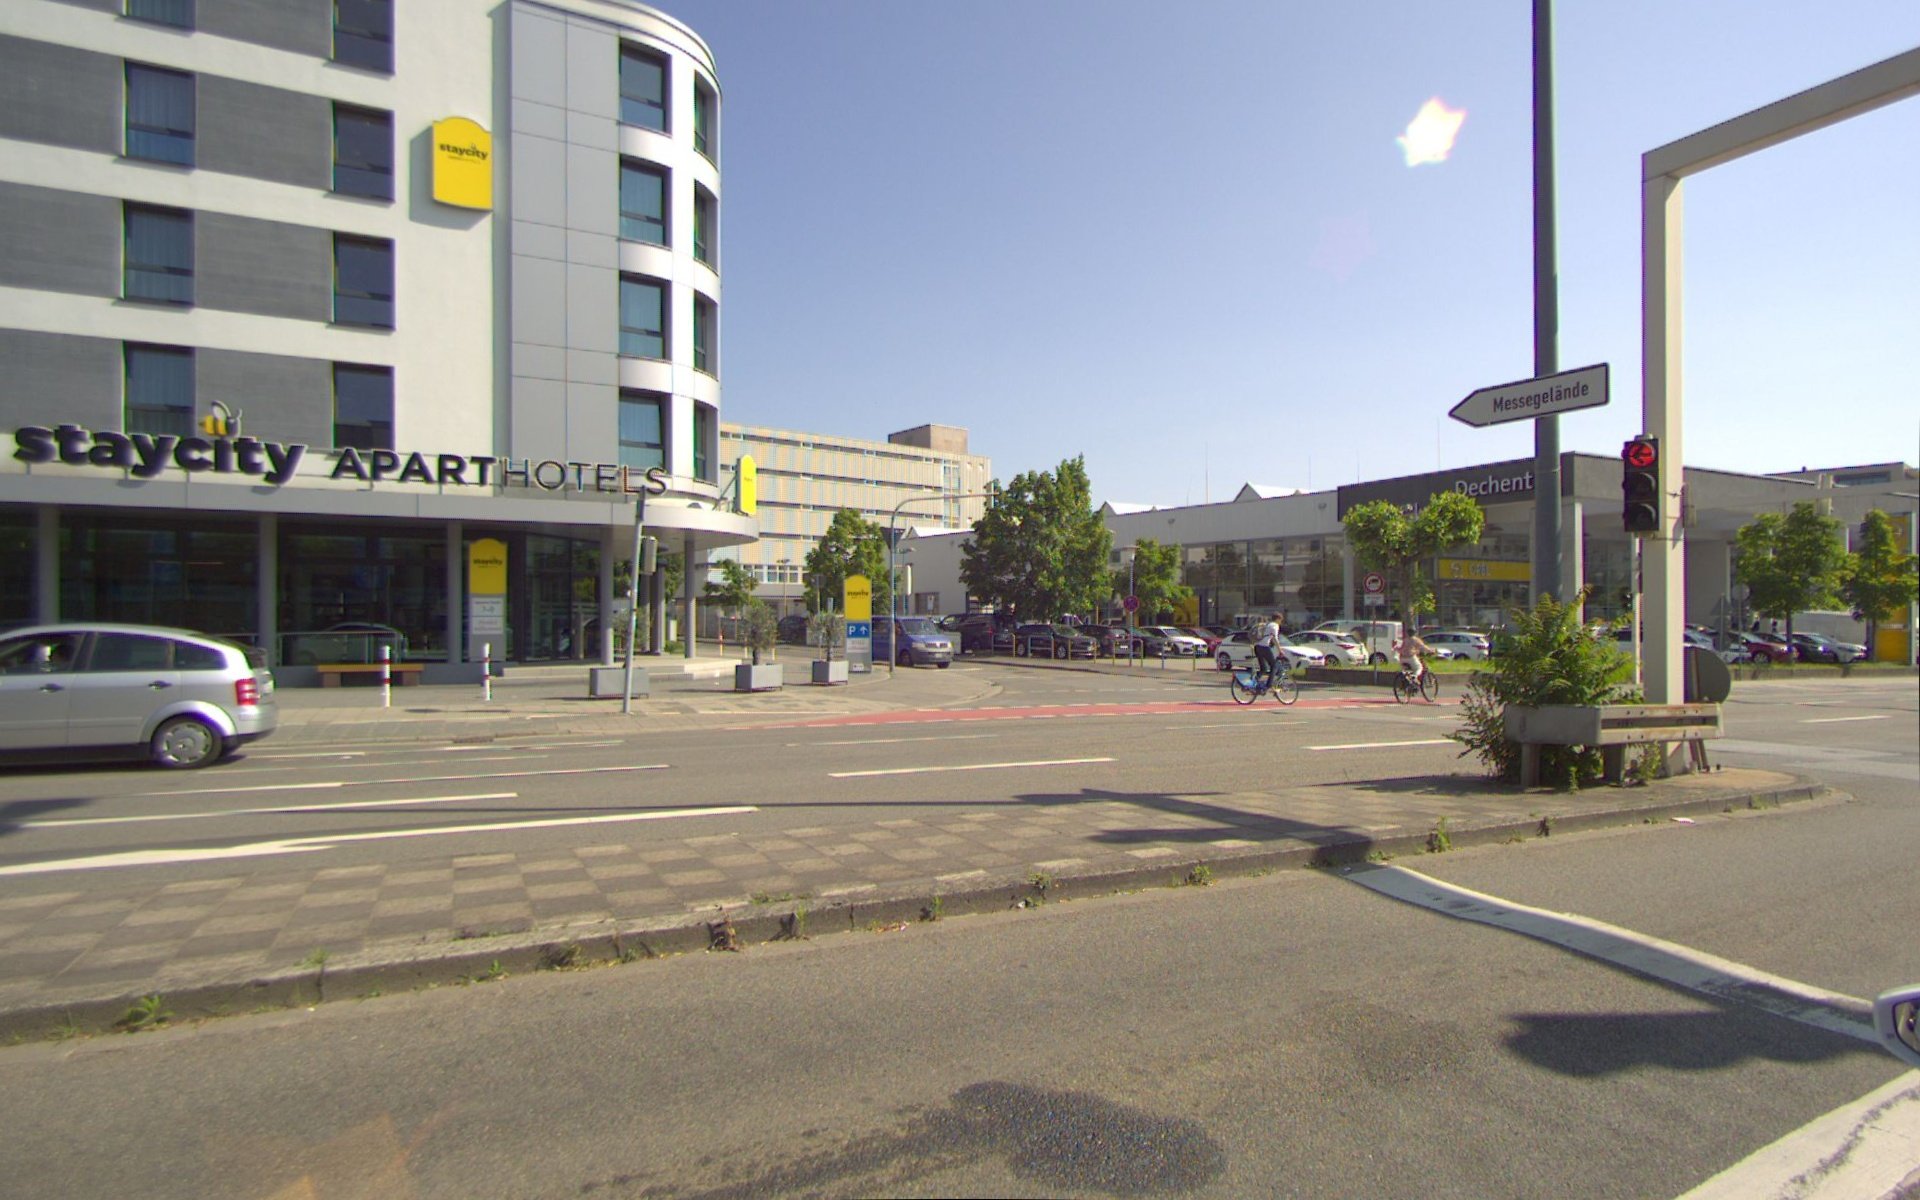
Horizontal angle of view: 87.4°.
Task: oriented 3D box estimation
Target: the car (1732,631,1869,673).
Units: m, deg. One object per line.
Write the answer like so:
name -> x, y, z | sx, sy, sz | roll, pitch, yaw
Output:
car -> 37.640, 2.287, 45.089 | 1.977, 1.719, 4.335 | 1, -2, -31

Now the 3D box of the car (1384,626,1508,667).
car -> 20.424, 1.912, 42.384 | 1.981, 1.612, 4.327 | 2, -2, -36

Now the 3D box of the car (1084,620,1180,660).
car -> 7.844, 1.813, 46.173 | 1.979, 1.719, 4.330 | 2, -2, -34

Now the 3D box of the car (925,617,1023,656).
car -> 0.623, 1.692, 47.125 | 4.306, 1.719, 1.990 | -1, -2, 41

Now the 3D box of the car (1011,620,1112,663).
car -> 4.272, 1.737, 42.860 | 1.979, 1.719, 4.330 | 2, -2, -34

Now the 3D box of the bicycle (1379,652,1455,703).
bicycle -> 10.812, 1.809, 23.744 | 2.143, 1.131, 0.762 | 2, -2, -39

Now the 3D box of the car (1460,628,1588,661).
car -> 23.822, 1.887, 42.585 | 1.981, 1.284, 4.327 | 4, -4, -36

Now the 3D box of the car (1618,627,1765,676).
car -> 28.738, 1.998, 39.606 | 1.977, 1.789, 4.276 | 1, -2, -31

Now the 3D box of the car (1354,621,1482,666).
car -> 18.436, 1.706, 40.588 | 1.981, 1.719, 4.326 | 2, -2, -37

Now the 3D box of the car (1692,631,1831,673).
car -> 34.784, 2.224, 43.728 | 1.977, 1.719, 4.335 | 1, -2, -31

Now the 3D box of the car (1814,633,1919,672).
car -> 43.076, 2.418, 46.981 | 1.972, 1.719, 4.347 | 1, -2, -23

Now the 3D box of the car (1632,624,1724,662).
car -> 42.586, 2.544, 59.635 | 1.978, 2.040, 3.964 | 2, 0, -32

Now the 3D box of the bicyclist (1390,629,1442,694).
bicyclist -> 10.785, 1.441, 23.752 | 1.018, 1.479, 0.762 | 2, -2, -38

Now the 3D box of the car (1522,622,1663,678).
car -> 22.825, 1.774, 36.374 | 1.977, 1.861, 3.851 | 3, -3, -31

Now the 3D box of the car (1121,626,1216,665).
car -> 9.918, 2.133, 48.035 | 1.979, 1.719, 4.330 | 2, -2, -34

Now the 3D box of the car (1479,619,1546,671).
car -> 19.800, 1.631, 36.131 | 1.871, 1.756, 3.293 | 0, -3, 25

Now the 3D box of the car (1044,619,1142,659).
car -> 5.906, 1.727, 45.055 | 1.979, 1.719, 4.330 | 2, -2, -34

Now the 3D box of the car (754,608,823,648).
car -> -10.363, 1.667, 60.556 | 1.984, 2.158, 4.568 | 2, 0, -40

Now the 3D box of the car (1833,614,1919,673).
car -> 45.097, 2.071, 48.169 | 2.096, 2.719, 4.492 | 1, -1, -19

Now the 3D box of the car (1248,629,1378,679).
car -> 13.235, 1.990, 37.917 | 1.979, 1.719, 4.330 | 2, -2, -34

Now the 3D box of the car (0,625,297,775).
car -> -9.502, 1.023, 10.709 | 3.868, 1.457, 1.765 | 2, -3, -29

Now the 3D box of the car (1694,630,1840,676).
car -> 33.374, 2.159, 41.681 | 1.977, 1.719, 4.335 | 2, -1, -30

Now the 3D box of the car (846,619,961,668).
car -> -2.201, 1.576, 38.081 | 1.983, 1.737, 4.775 | 1, -1, -39

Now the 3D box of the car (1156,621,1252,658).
car -> 11.923, 1.906, 49.303 | 1.981, 1.719, 4.326 | 2, -2, -36

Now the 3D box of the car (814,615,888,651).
car -> -6.107, 1.830, 56.101 | 1.970, 1.815, 4.379 | 2, 0, -40

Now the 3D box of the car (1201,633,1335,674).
car -> 10.873, 1.849, 35.750 | 1.979, 1.317, 4.331 | 2, -2, -34

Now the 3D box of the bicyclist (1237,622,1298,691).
bicyclist -> 6.719, 1.218, 21.973 | 1.010, 1.479, 0.768 | 1, -1, -17

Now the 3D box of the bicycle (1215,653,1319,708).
bicycle -> 6.706, 1.737, 21.936 | 2.128, 1.131, 0.767 | 1, -1, -19

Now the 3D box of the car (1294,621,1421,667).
car -> 15.733, 1.721, 39.919 | 1.981, 1.719, 4.326 | 2, -2, -37

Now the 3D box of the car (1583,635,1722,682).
car -> 26.416, 2.195, 38.409 | 1.980, 1.620, 3.961 | 2, -2, -35

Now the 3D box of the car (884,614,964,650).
car -> -1.949, 1.703, 53.781 | 3.943, 1.710, 1.989 | 2, -2, 43

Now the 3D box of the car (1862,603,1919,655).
car -> 49.404, 1.510, 51.461 | 1.972, 2.635, 4.347 | 1, -1, -23

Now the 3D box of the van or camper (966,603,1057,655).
van or camper -> 2.515, 1.410, 49.827 | 1.982, 2.432, 4.680 | 2, -2, -37
